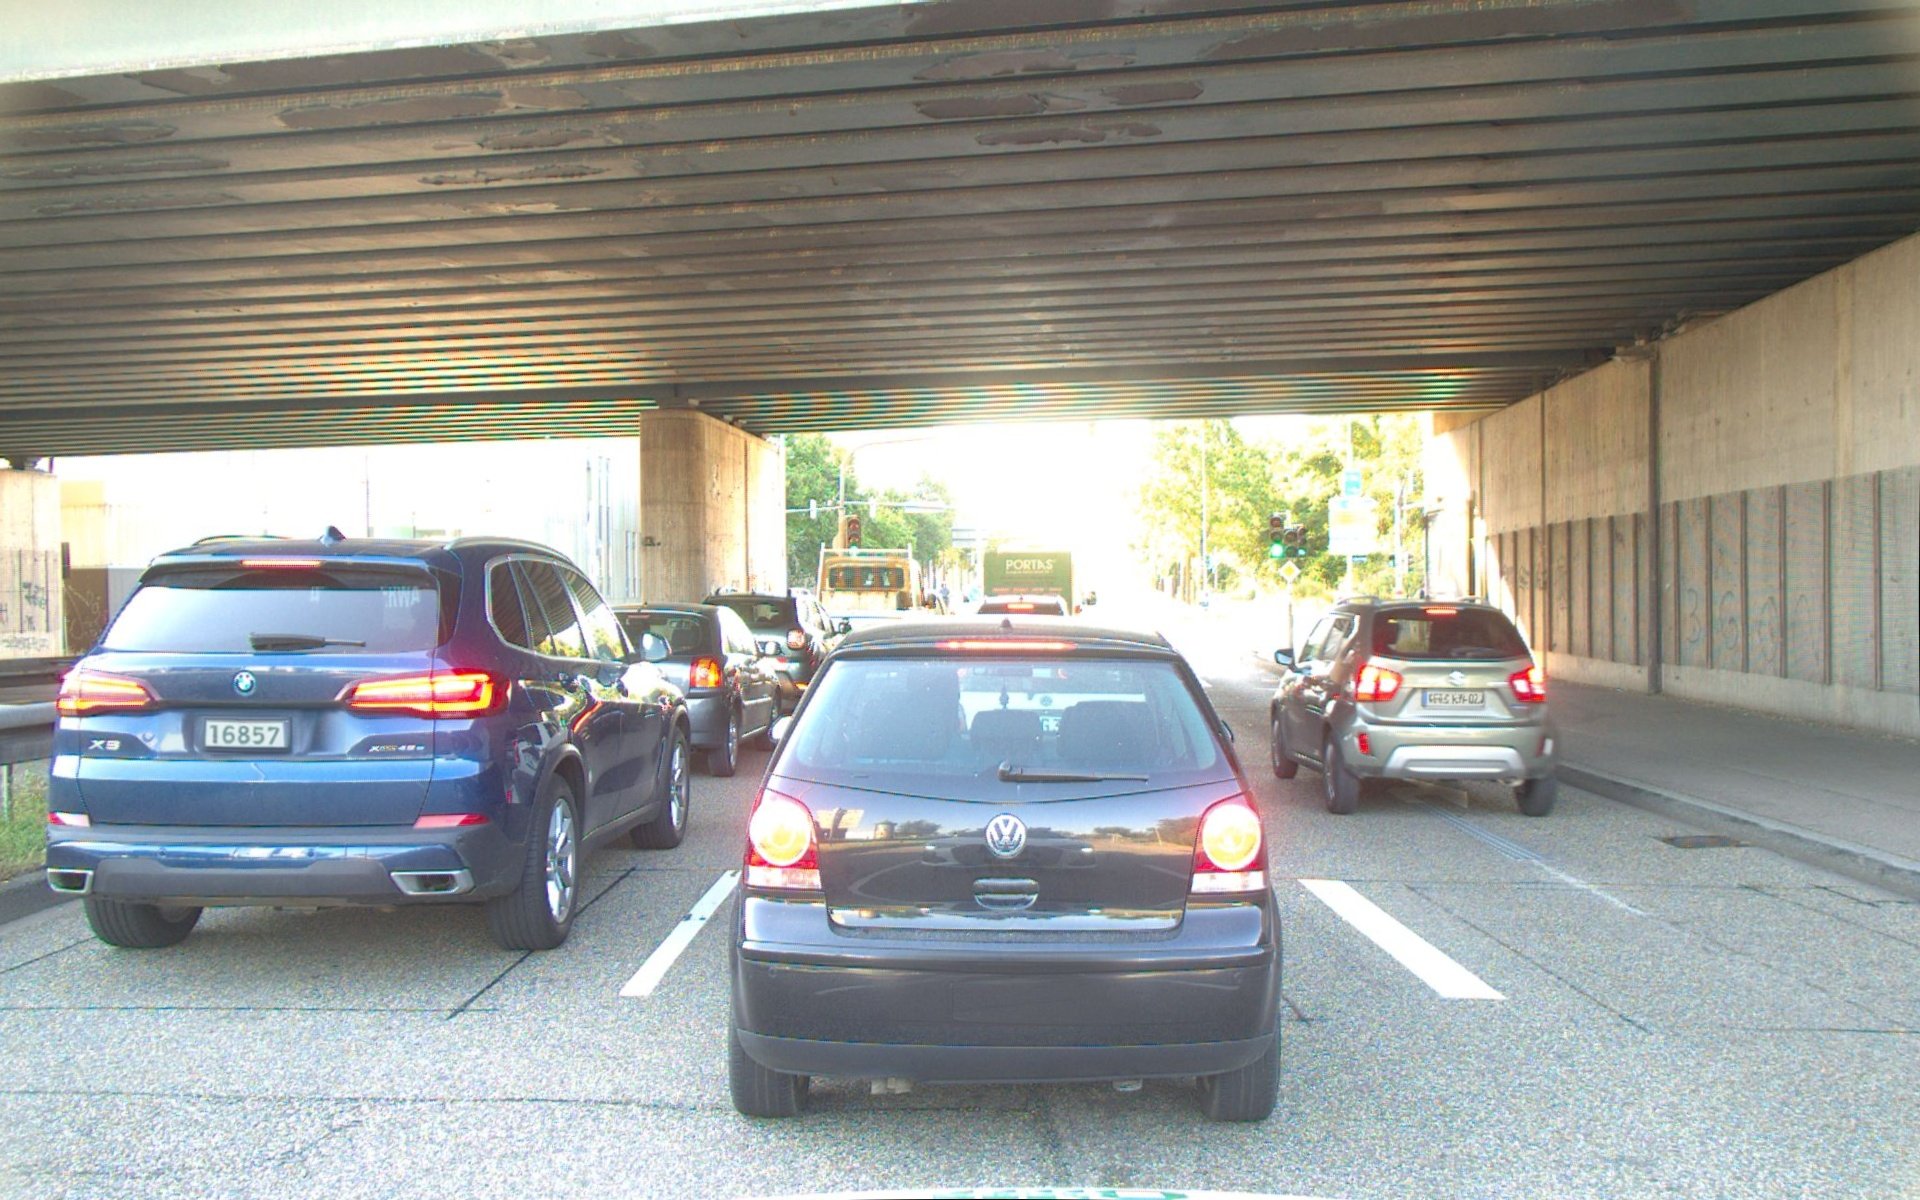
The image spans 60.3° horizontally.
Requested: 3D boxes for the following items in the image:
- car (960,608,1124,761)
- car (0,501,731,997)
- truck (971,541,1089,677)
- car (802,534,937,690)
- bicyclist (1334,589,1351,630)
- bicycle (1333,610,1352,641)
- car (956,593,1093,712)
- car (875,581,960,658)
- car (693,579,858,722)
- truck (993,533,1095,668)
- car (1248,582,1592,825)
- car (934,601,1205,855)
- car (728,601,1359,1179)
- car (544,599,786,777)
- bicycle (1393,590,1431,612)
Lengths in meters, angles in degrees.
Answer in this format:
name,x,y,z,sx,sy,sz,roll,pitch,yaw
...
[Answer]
name,x,y,z,sx,sy,sz,roll,pitch,yaw
car,0.803,0.818,17.831,1.546,1.438,4.062,1,0,1
car,-2.544,0.545,8.274,1.952,1.764,4.534,1,0,2
truck,1.382,0.170,31.114,1.954,2.356,4.003,1,0,6
car,-1.580,0.216,30.703,2.092,2.621,5.087,1,0,1
bicyclist,11.727,0.288,50.727,0.418,1.254,0.460,-1,-1,6
bicycle,11.726,0.771,50.710,0.428,0.930,1.027,-2,-1,6
car,1.038,0.727,24.535,1.758,1.586,4.003,1,0,6
car,-0.950,0.443,38.930,1.582,1.709,3.685,1,0,5
car,-2.354,0.618,21.879,1.583,1.709,3.684,1,0,3
truck,1.864,0.015,35.557,1.954,2.715,4.003,1,0,6
car,3.558,0.730,13.544,1.701,1.659,4.062,1,0,1
car,0.653,0.747,11.573,1.546,1.438,4.062,1,0,1
car,0.267,0.742,6.050,1.583,1.434,3.684,1,0,2
car,-2.601,0.727,15.352,1.583,1.434,3.682,1,0,0
bicycle,21.194,0.044,77.547,1.628,1.008,0.578,-1,3,23
